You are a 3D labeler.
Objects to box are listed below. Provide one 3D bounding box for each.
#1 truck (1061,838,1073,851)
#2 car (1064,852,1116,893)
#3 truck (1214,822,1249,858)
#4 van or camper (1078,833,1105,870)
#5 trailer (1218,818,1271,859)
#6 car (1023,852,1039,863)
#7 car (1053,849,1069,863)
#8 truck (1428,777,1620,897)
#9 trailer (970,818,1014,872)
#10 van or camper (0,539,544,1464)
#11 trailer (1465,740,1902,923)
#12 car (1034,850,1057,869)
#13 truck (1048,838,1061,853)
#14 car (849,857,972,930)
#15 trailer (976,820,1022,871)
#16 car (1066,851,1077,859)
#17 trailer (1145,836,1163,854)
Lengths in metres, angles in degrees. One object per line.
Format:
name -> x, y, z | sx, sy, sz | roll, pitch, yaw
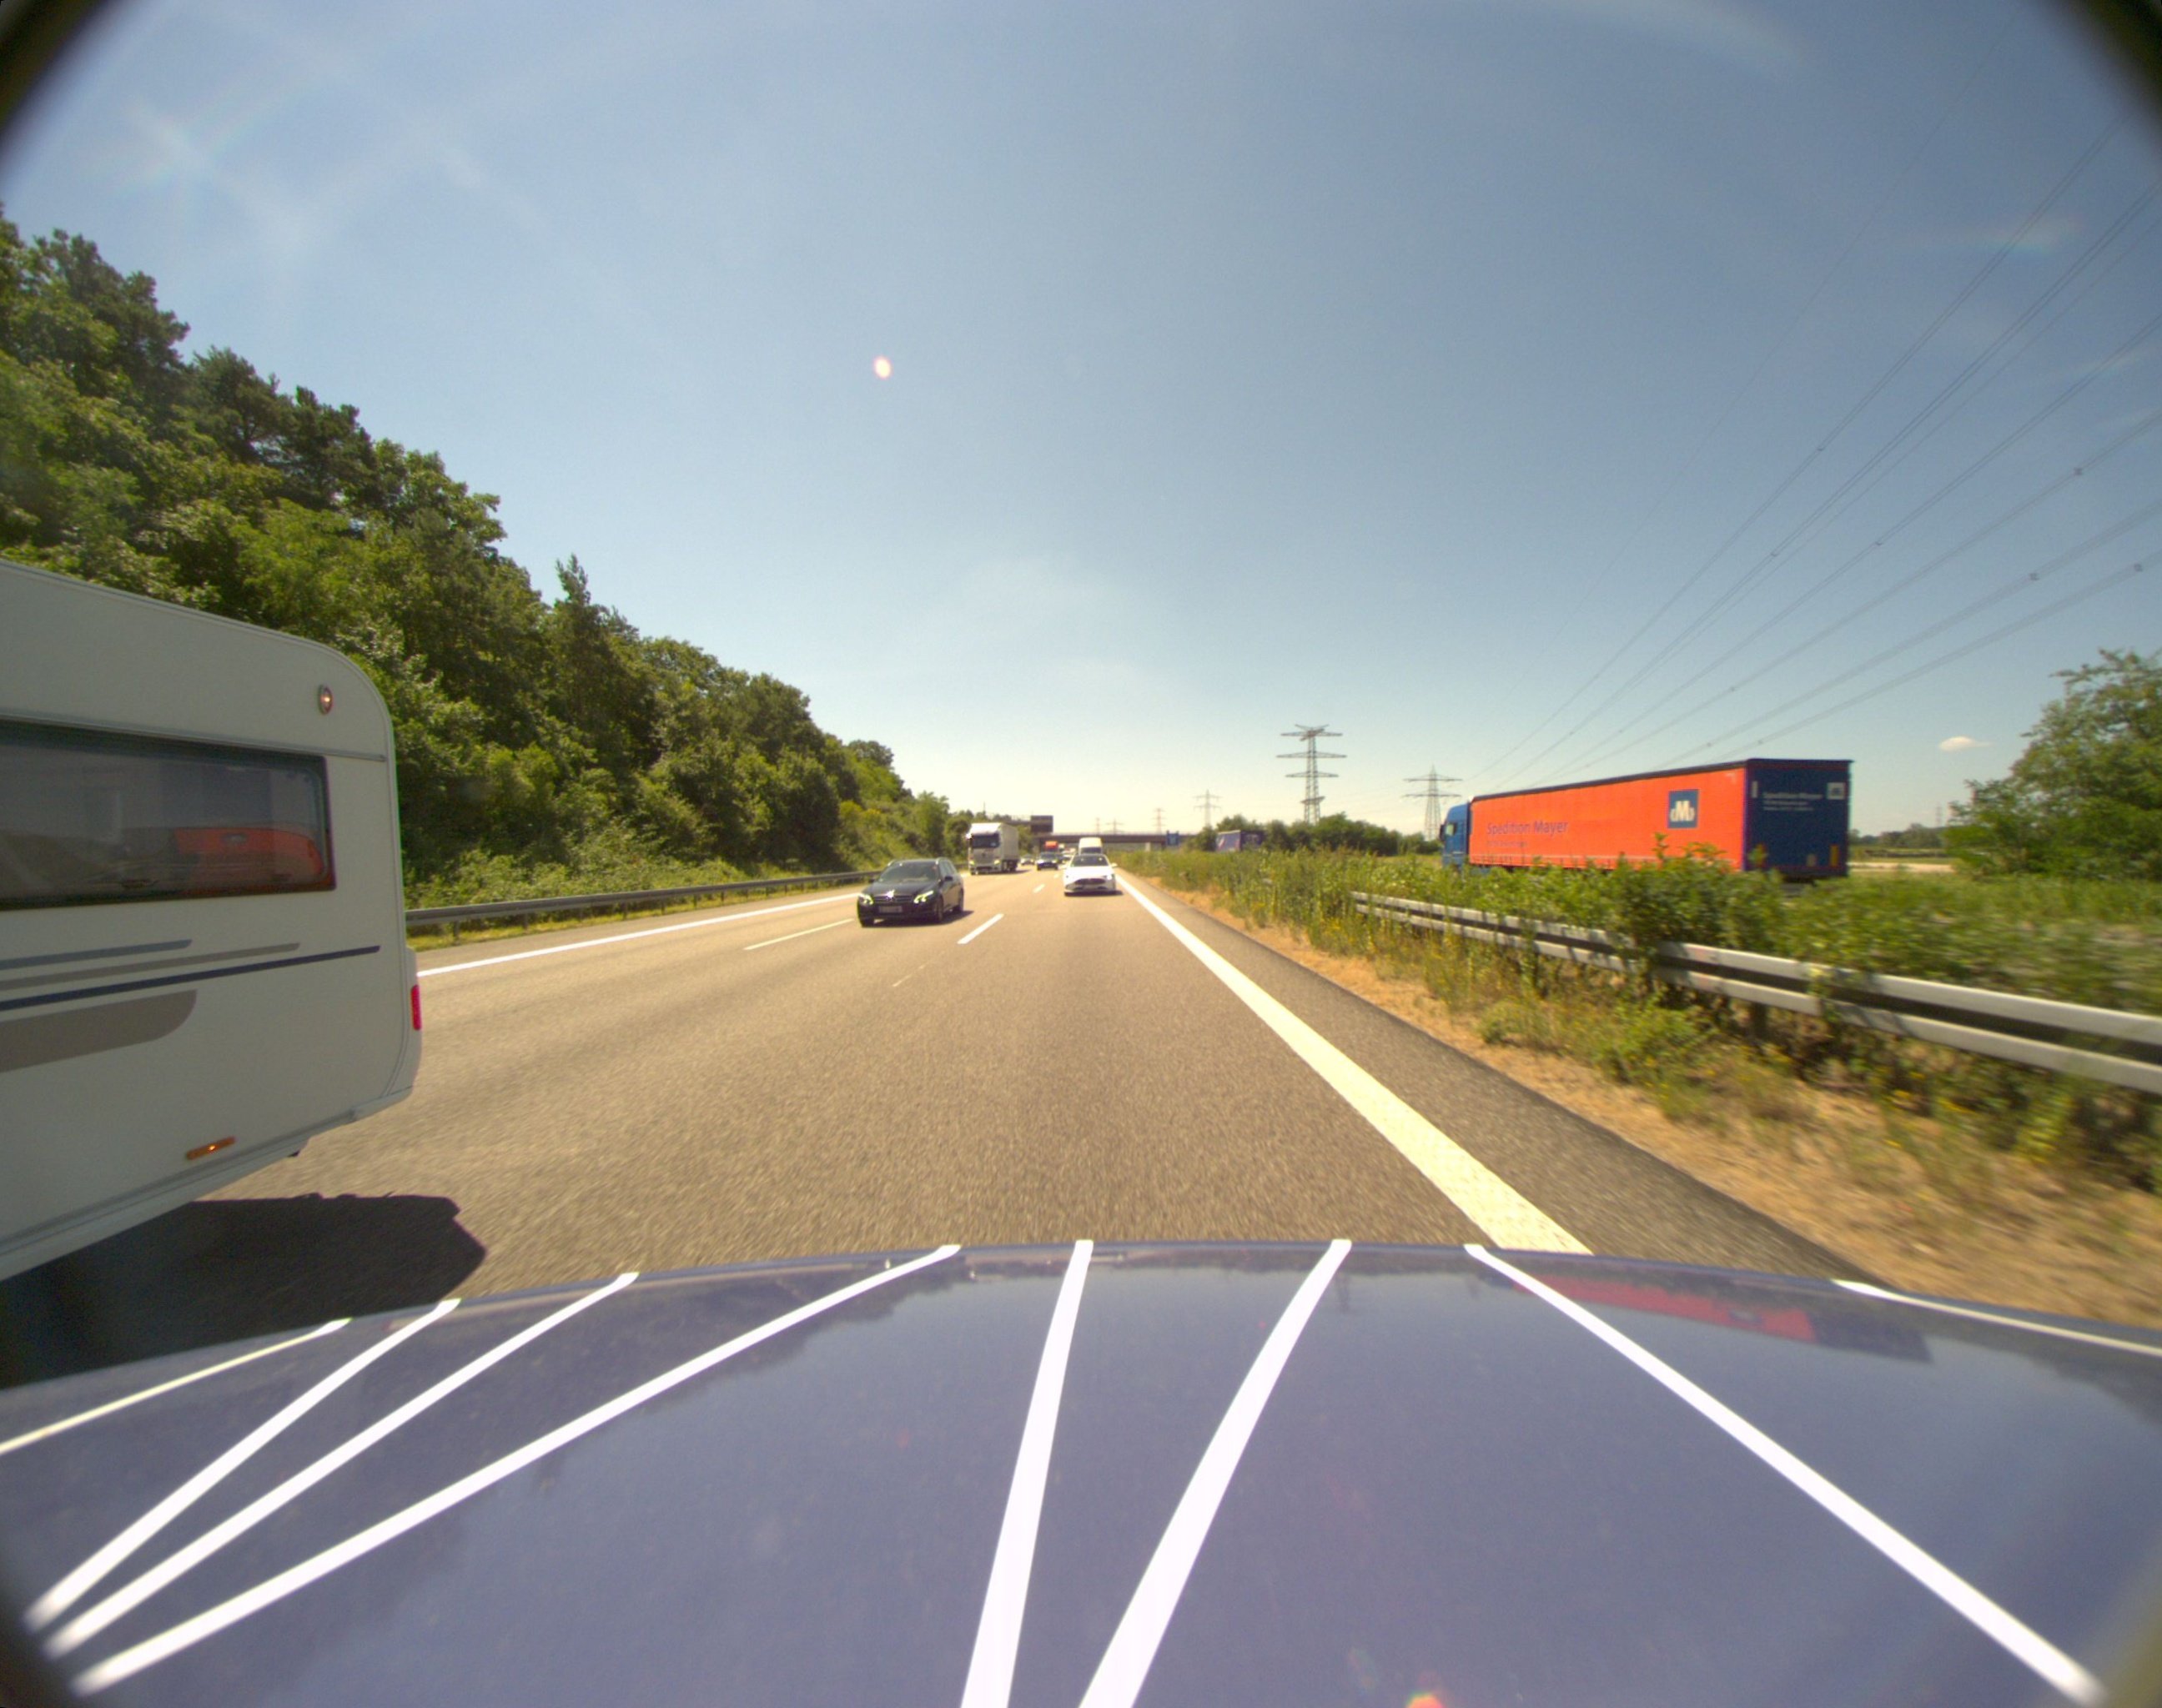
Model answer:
truck -> -4.543, -3.066, 240.818 | 3.507, 3.891, 9.645 | -1, 1, -2
car -> 0.341, 0.699, 31.448 | 1.984, 1.525, 4.558 | -1, 0, -1
truck -> 18.973, -1.748, 96.182 | 3.095, 4.382, 6.800 | 2, 1, 1
van or camper -> 0.884, -0.228, 60.425 | 1.998, 2.741, 5.410 | -2, 1, 2
trailer -> 18.904, -1.710, 89.061 | 3.095, 4.382, 14.230 | 2, 0, 1
car -> -6.793, 0.508, 103.722 | 1.840, 1.403, 4.558 | -2, 0, -1
car -> -2.460, 0.238, 94.663 | 1.984, 1.671, 4.557 | 0, 1, -1
truck -> 18.216, -0.647, 32.103 | 3.352, 4.382, 7.970 | 1, 1, 0
trailer -> -7.133, -0.722, 61.865 | 2.720, 4.079, 6.788 | -1, 1, 0
van or camper -> -4.353, 0.465, 1.115 | 2.445, 2.659, 6.349 | -3, 0, 0
trailer -> 18.188, -0.596, 25.521 | 3.352, 4.382, 14.163 | 1, 0, 0
car -> -3.235, 0.478, 70.073 | 1.984, 1.671, 4.558 | -1, 0, -1
truck -> -6.016, -1.891, 171.833 | 2.582, 3.204, 5.712 | -3, 1, -1
car -> -4.061, 0.871, 18.976 | 1.846, 1.496, 4.738 | -3, 0, 1
trailer -> -7.192, -0.730, 68.604 | 2.736, 4.079, 13.187 | -1, 0, -1
car -> -1.720, 0.154, 137.021 | 1.984, 1.525, 4.137 | -1, 0, -1
trailer -> 19.194, -2.325, 200.007 | 3.376, 4.383, 14.319 | 1, 0, 1
